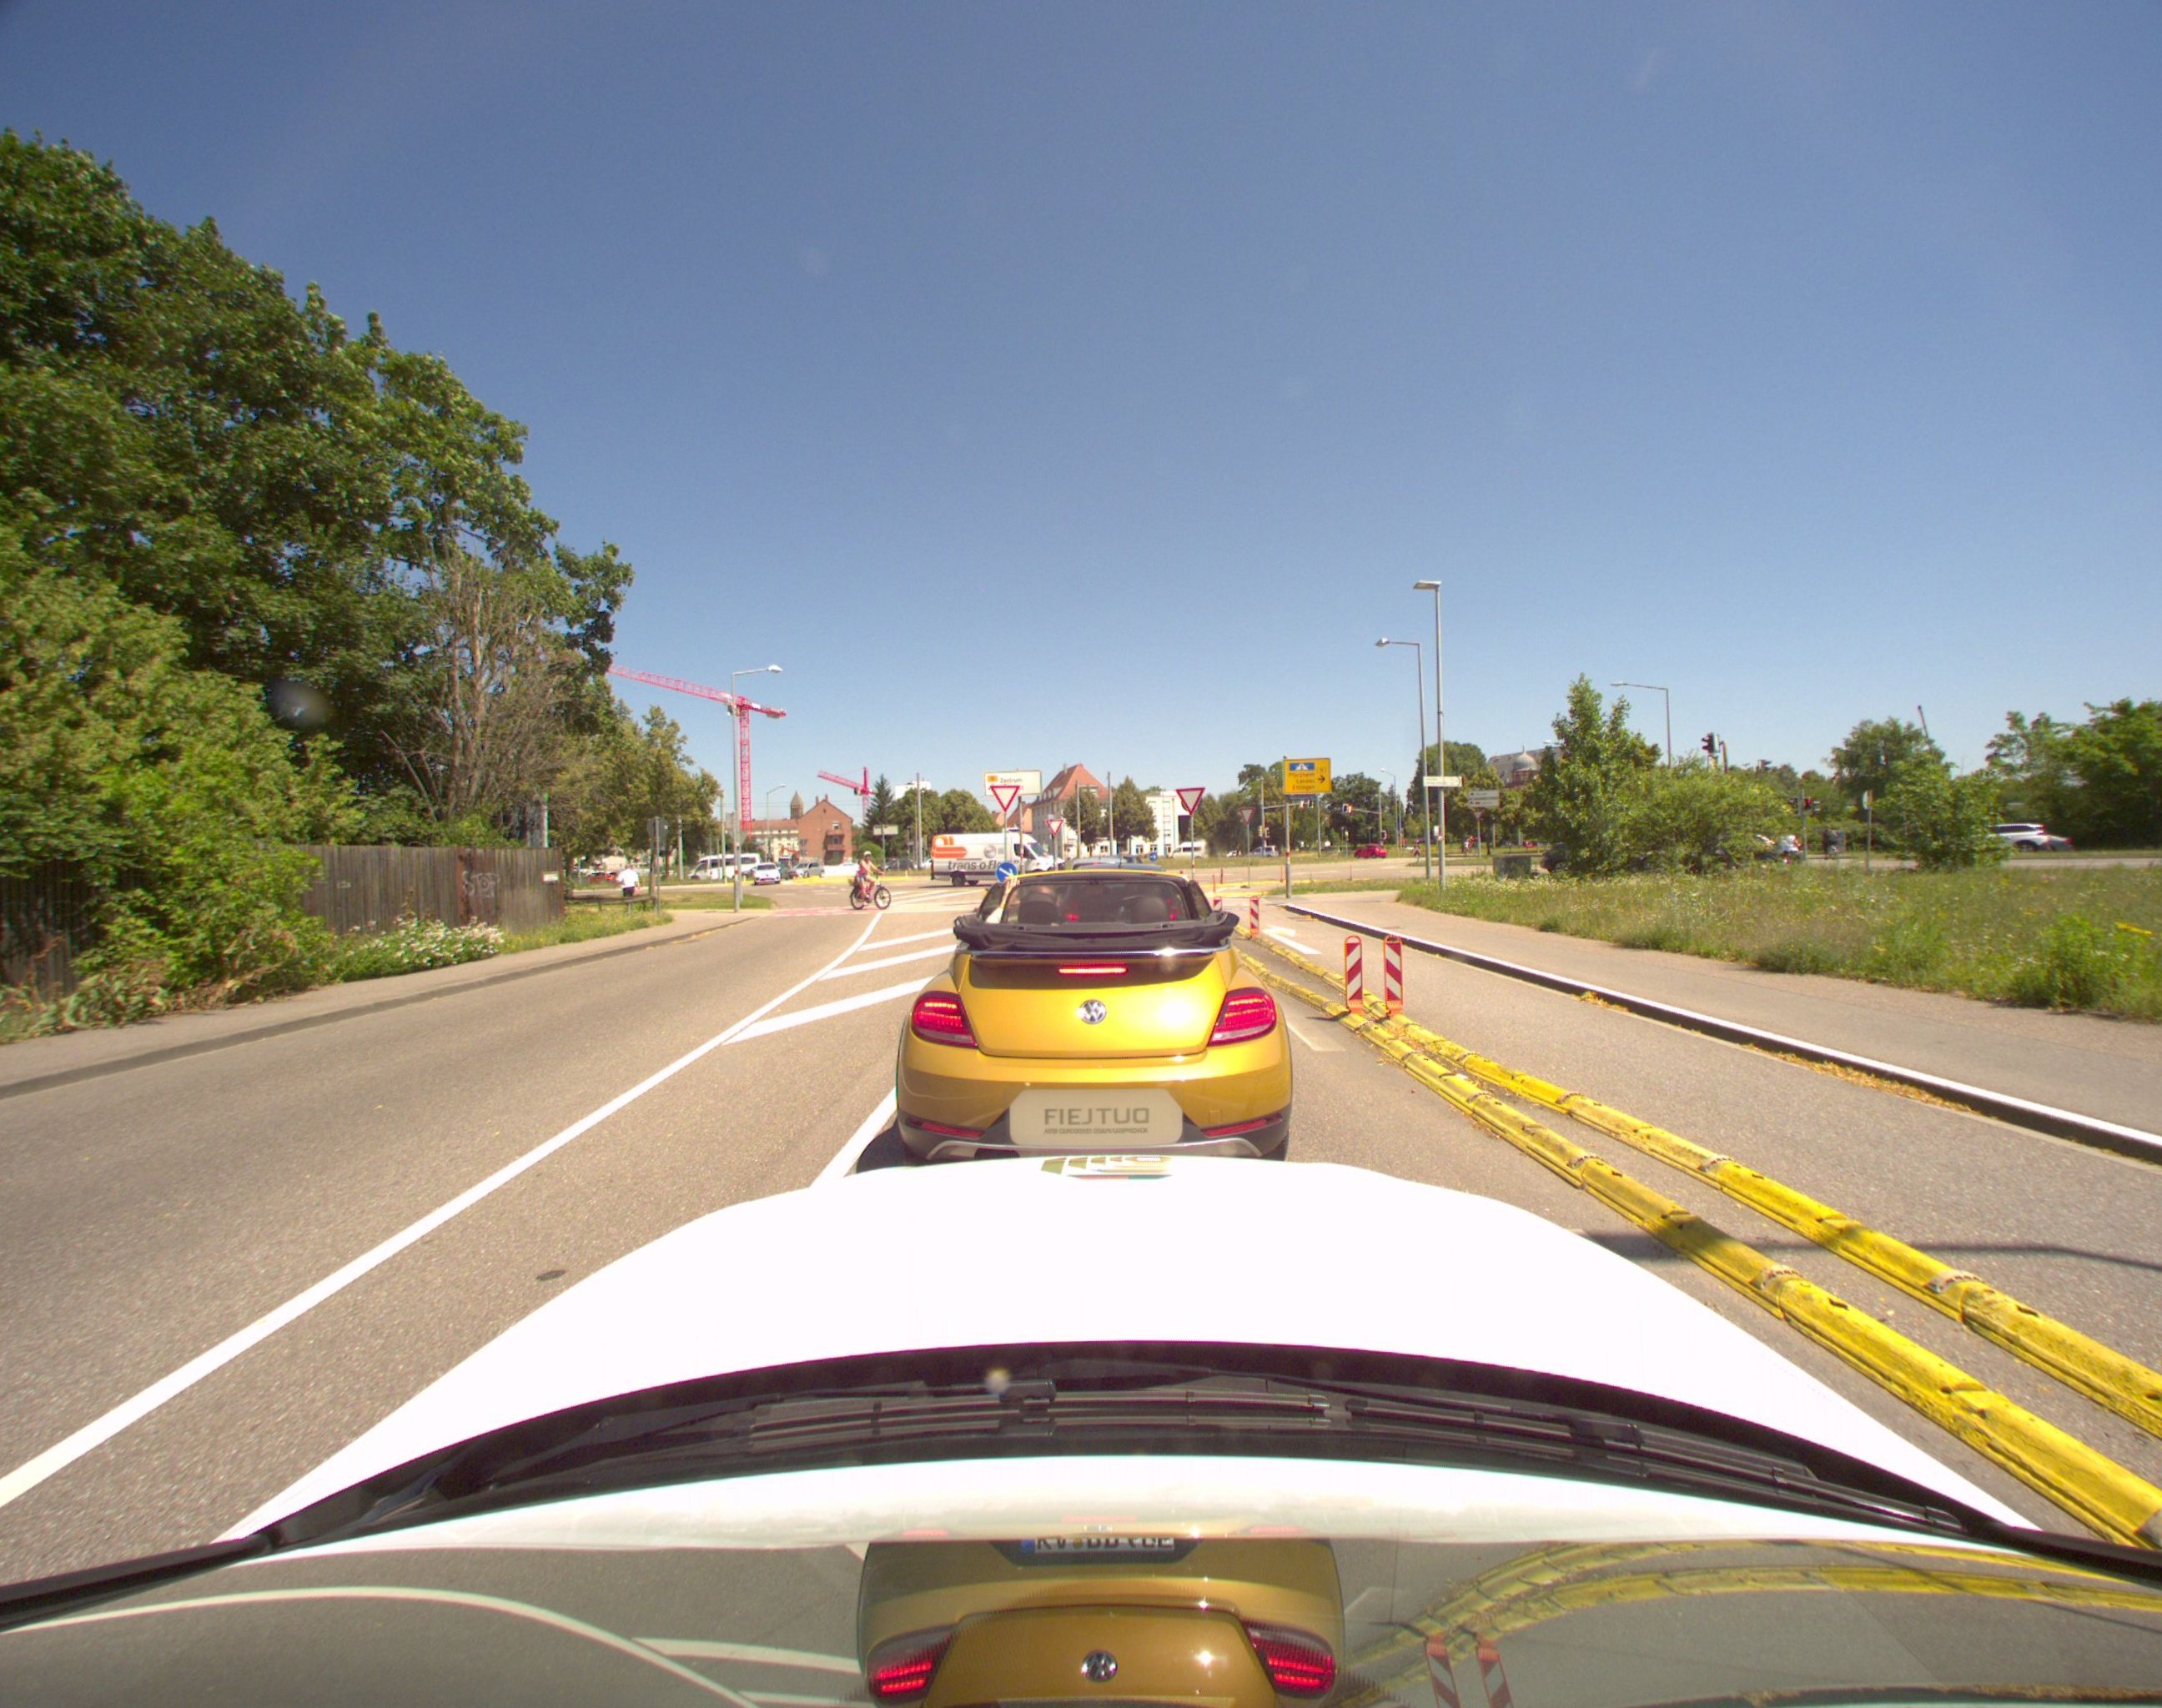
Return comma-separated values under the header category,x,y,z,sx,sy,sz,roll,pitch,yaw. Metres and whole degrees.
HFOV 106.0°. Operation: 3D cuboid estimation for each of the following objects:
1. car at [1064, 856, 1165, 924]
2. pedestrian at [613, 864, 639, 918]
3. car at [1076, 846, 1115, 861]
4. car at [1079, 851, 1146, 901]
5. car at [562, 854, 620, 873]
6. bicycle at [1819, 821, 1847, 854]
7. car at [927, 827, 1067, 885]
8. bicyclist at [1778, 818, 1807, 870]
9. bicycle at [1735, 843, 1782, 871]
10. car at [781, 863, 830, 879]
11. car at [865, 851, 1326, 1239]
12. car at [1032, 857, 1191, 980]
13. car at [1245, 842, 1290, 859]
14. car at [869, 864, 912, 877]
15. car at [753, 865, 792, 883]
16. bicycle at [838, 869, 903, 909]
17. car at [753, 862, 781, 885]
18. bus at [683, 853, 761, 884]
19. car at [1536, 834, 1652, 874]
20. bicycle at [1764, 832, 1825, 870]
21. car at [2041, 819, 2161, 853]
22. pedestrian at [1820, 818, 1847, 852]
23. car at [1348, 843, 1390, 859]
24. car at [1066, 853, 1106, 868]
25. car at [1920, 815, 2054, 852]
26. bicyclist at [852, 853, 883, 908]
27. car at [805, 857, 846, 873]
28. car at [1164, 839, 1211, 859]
category,x,y,z,sx,sy,sz,roll,pitch,yaw
car,0.744,0.749,18.729,2.057,1.382,4.259,0,-1,1
pedestrian,-15.383,1.240,27.533,0.641,1.786,0.958,0,-1,-36
car,1.966,-0.092,113.057,5.302,1.962,1.991,0,-1,-5
car,1.057,0.679,27.724,2.057,1.481,4.545,-2,0,2
car,-45.087,0.859,75.062,4.455,1.736,1.832,0,-1,-28
bicycle,38.000,-0.808,41.138,0.972,1.597,2.900,-1,-1,43
car,-4.258,0.143,41.357,6.807,2.828,2.009,-1,-1,17
bicyclist,25.757,-0.355,29.491,0.573,1.841,0.603,0,-1,-29
bicycle,22.422,0.098,26.945,1.593,0.884,0.367,0,-1,-17
car,-25.035,1.535,74.038,1.711,1.402,4.295,-1,-1,25
car,0.120,0.750,5.255,1.758,1.481,4.259,0,-1,2
car,0.429,0.768,11.777,1.844,1.366,4.260,-2,0,2
car,23.864,-0.429,104.448,5.259,2.070,2.007,-1,-1,37
car,-21.409,1.855,91.592,4.346,1.371,1.734,0,-1,-33
car,-25.065,1.586,66.301,1.743,1.371,4.326,0,-1,-3
bicycle,-6.857,1.134,26.484,2.073,1.221,0.637,-2,0,24
car,-22.804,1.394,59.135,1.783,1.527,3.843,-2,0,-22
bus,-37.811,1.526,85.995,7.269,3.172,2.248,0,-1,-17
car,22.172,0.003,35.354,3.954,1.551,1.737,-2,2,19
bicycle,25.914,-0.102,29.555,2.902,1.353,0.635,0,-1,-28
car,51.457,-0.851,40.649,4.389,1.592,1.860,-1,-1,43
pedestrian,37.901,-0.936,41.029,0.959,1.660,0.892,-1,-1,44
car,31.250,-0.320,88.484,1.903,1.654,4.313,0,-1,-23
car,0.735,0.894,113.333,5.271,1.962,2.002,-1,-1,15
car,45.922,-0.977,41.459,4.389,1.736,1.860,-1,-1,43
bicyclist,-6.947,0.863,26.528,0.664,1.752,0.596,-2,1,23
car,-28.322,1.218,90.396,4.017,1.772,1.767,0,-1,-36
car,13.021,-0.601,99.639,5.263,2.397,2.005,-1,-1,24
